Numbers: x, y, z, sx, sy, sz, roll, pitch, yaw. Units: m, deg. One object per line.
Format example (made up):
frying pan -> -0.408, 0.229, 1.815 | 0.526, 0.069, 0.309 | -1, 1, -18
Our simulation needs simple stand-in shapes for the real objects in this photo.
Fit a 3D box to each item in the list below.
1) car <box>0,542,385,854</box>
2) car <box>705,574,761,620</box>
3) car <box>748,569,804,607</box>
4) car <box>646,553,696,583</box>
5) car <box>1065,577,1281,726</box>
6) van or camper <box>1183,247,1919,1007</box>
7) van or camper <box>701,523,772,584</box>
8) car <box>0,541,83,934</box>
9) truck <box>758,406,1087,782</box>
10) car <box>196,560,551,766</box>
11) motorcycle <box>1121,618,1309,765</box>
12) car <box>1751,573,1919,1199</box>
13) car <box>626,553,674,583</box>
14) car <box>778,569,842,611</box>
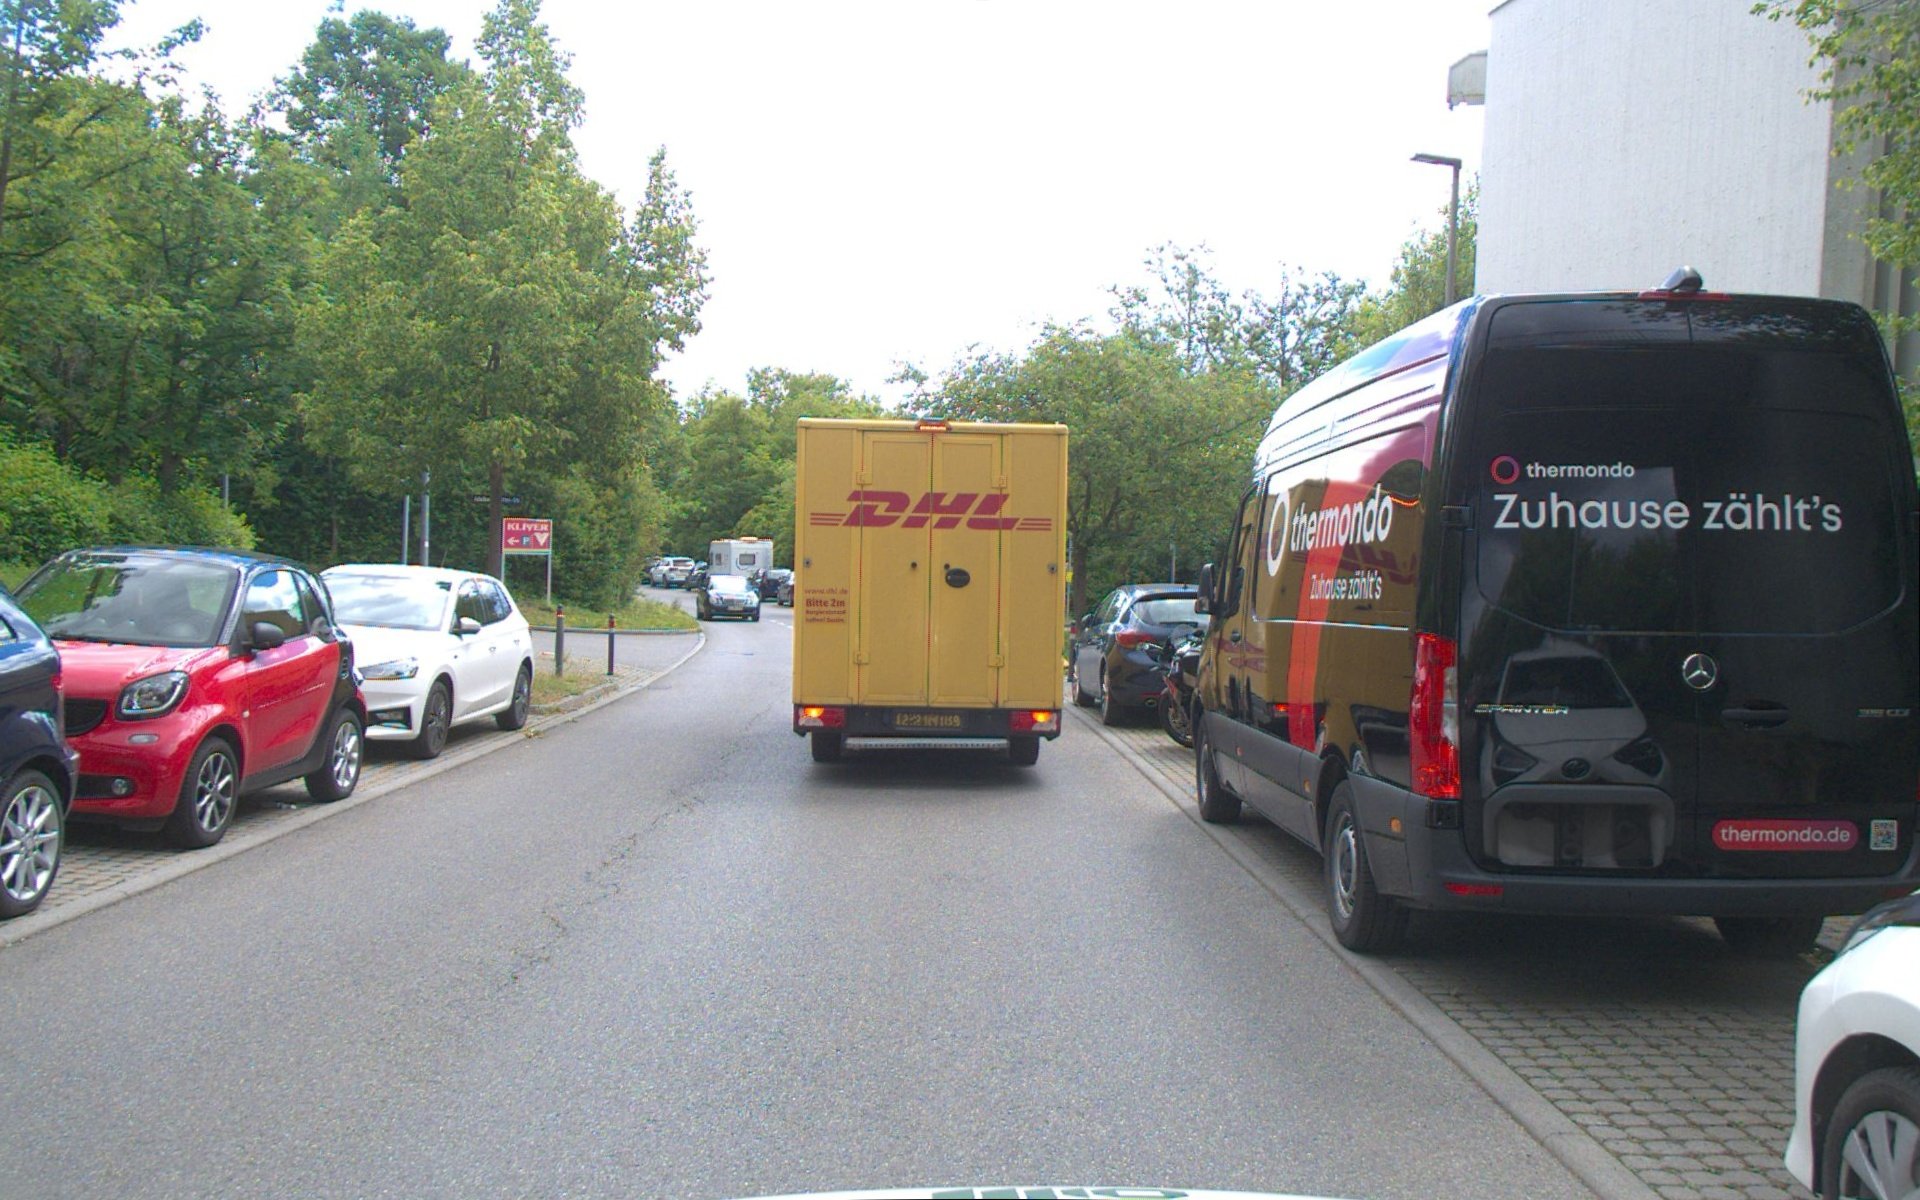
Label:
car -> -4.641, 0.471, 9.735 | 1.497, 1.532, 2.713 | 2, 1, 0
car -> -7.475, -0.133, 54.692 | 1.642, 1.378, 3.965 | 2, 1, -6
car -> -8.630, -0.572, 77.196 | 1.815, 1.556, 3.981 | 2, 2, -18
car -> -16.823, -1.852, 96.180 | 1.821, 1.556, 3.968 | 2, 2, -26
car -> 2.274, 0.520, 18.643 | 1.694, 1.458, 3.966 | 2, 0, -3
van or camper -> 2.522, 0.069, 8.350 | 1.953, 2.567, 5.470 | 0, 0, -1
van or camper -> -11.363, -2.366, 83.754 | 2.292, 2.922, 5.224 | 1, 1, -23
car -> -4.735, 0.533, 5.274 | 1.847, 1.586, 3.837 | 3, 1, -2
truck -> -0.433, -0.102, 15.572 | 2.417, 2.749, 6.821 | 0, 1, -3
car -> -4.848, 0.441, 14.279 | 1.640, 1.461, 3.969 | 2, 1, -1
motorcycle -> 2.186, 0.764, 14.518 | 0.883, 1.131, 2.078 | 2, 0, -14
car -> 2.697, 0.739, 2.240 | 1.531, 1.522, 3.329 | 1, 1, -3
car -> -19.059, -1.973, 101.592 | 1.821, 1.641, 3.968 | 2, 2, -26
car -> -6.376, -0.452, 69.936 | 1.815, 1.556, 3.981 | 2, 2, -18
